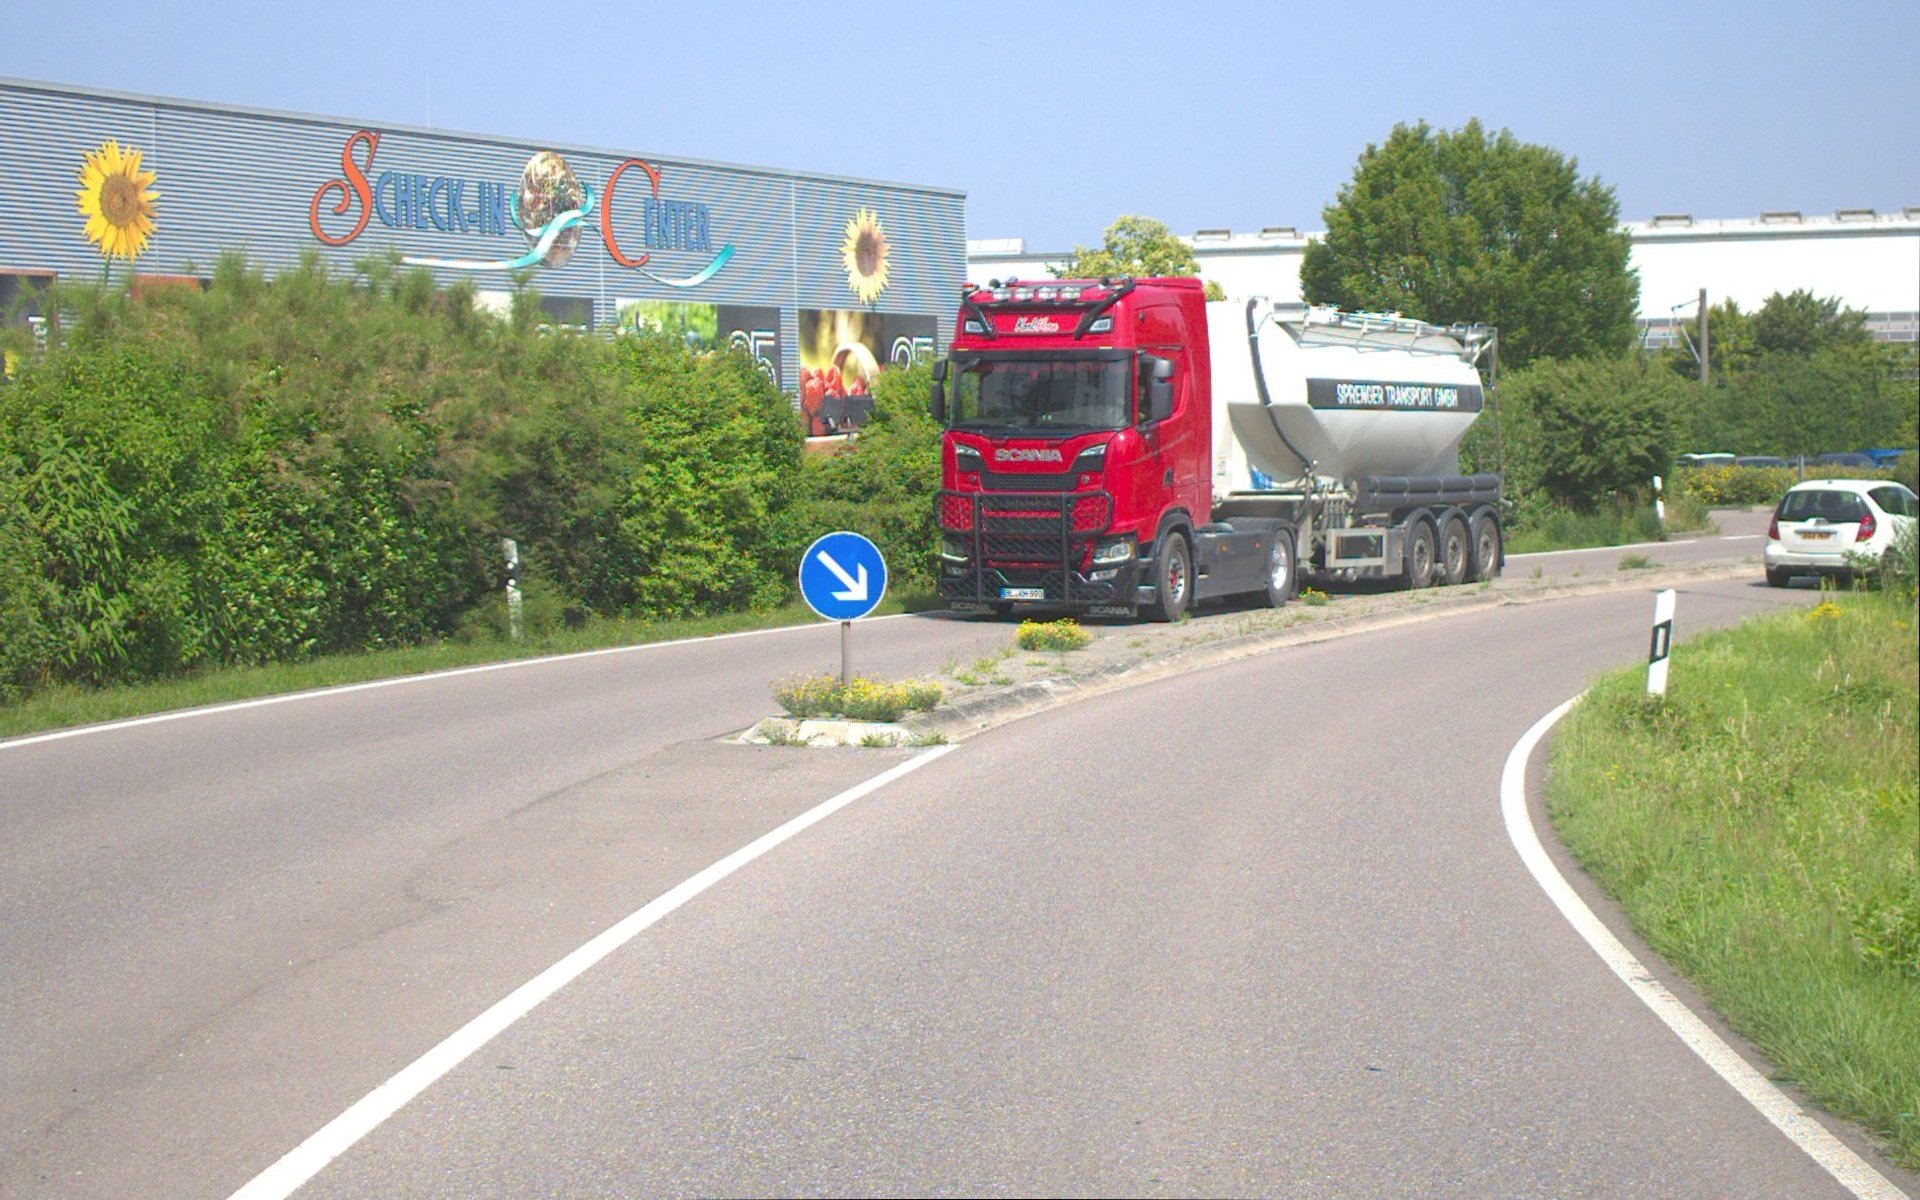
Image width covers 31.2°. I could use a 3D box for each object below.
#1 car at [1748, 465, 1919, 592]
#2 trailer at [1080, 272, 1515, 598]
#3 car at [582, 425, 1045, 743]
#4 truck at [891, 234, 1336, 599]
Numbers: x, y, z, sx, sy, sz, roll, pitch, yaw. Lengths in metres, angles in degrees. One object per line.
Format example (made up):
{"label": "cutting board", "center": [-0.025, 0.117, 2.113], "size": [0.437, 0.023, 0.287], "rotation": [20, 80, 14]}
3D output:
{"label": "car", "center": [13.095, -1.023, 50.671], "size": [1.784, 1.597, 3.887], "rotation": [7, 2, 28]}
{"label": "trailer", "center": [4.801, -2.104, 46.903], "size": [2.883, 4.016, 8.683], "rotation": [0, 1, 27]}
{"label": "car", "center": [-0.910, -0.136, 23.925], "size": [1.995, 2.007, 3.997], "rotation": [0, 1, 17]}
{"label": "truck", "center": [2.003, -2.074, 41.510], "size": [2.886, 4.016, 6.712], "rotation": [0, 1, 27]}
